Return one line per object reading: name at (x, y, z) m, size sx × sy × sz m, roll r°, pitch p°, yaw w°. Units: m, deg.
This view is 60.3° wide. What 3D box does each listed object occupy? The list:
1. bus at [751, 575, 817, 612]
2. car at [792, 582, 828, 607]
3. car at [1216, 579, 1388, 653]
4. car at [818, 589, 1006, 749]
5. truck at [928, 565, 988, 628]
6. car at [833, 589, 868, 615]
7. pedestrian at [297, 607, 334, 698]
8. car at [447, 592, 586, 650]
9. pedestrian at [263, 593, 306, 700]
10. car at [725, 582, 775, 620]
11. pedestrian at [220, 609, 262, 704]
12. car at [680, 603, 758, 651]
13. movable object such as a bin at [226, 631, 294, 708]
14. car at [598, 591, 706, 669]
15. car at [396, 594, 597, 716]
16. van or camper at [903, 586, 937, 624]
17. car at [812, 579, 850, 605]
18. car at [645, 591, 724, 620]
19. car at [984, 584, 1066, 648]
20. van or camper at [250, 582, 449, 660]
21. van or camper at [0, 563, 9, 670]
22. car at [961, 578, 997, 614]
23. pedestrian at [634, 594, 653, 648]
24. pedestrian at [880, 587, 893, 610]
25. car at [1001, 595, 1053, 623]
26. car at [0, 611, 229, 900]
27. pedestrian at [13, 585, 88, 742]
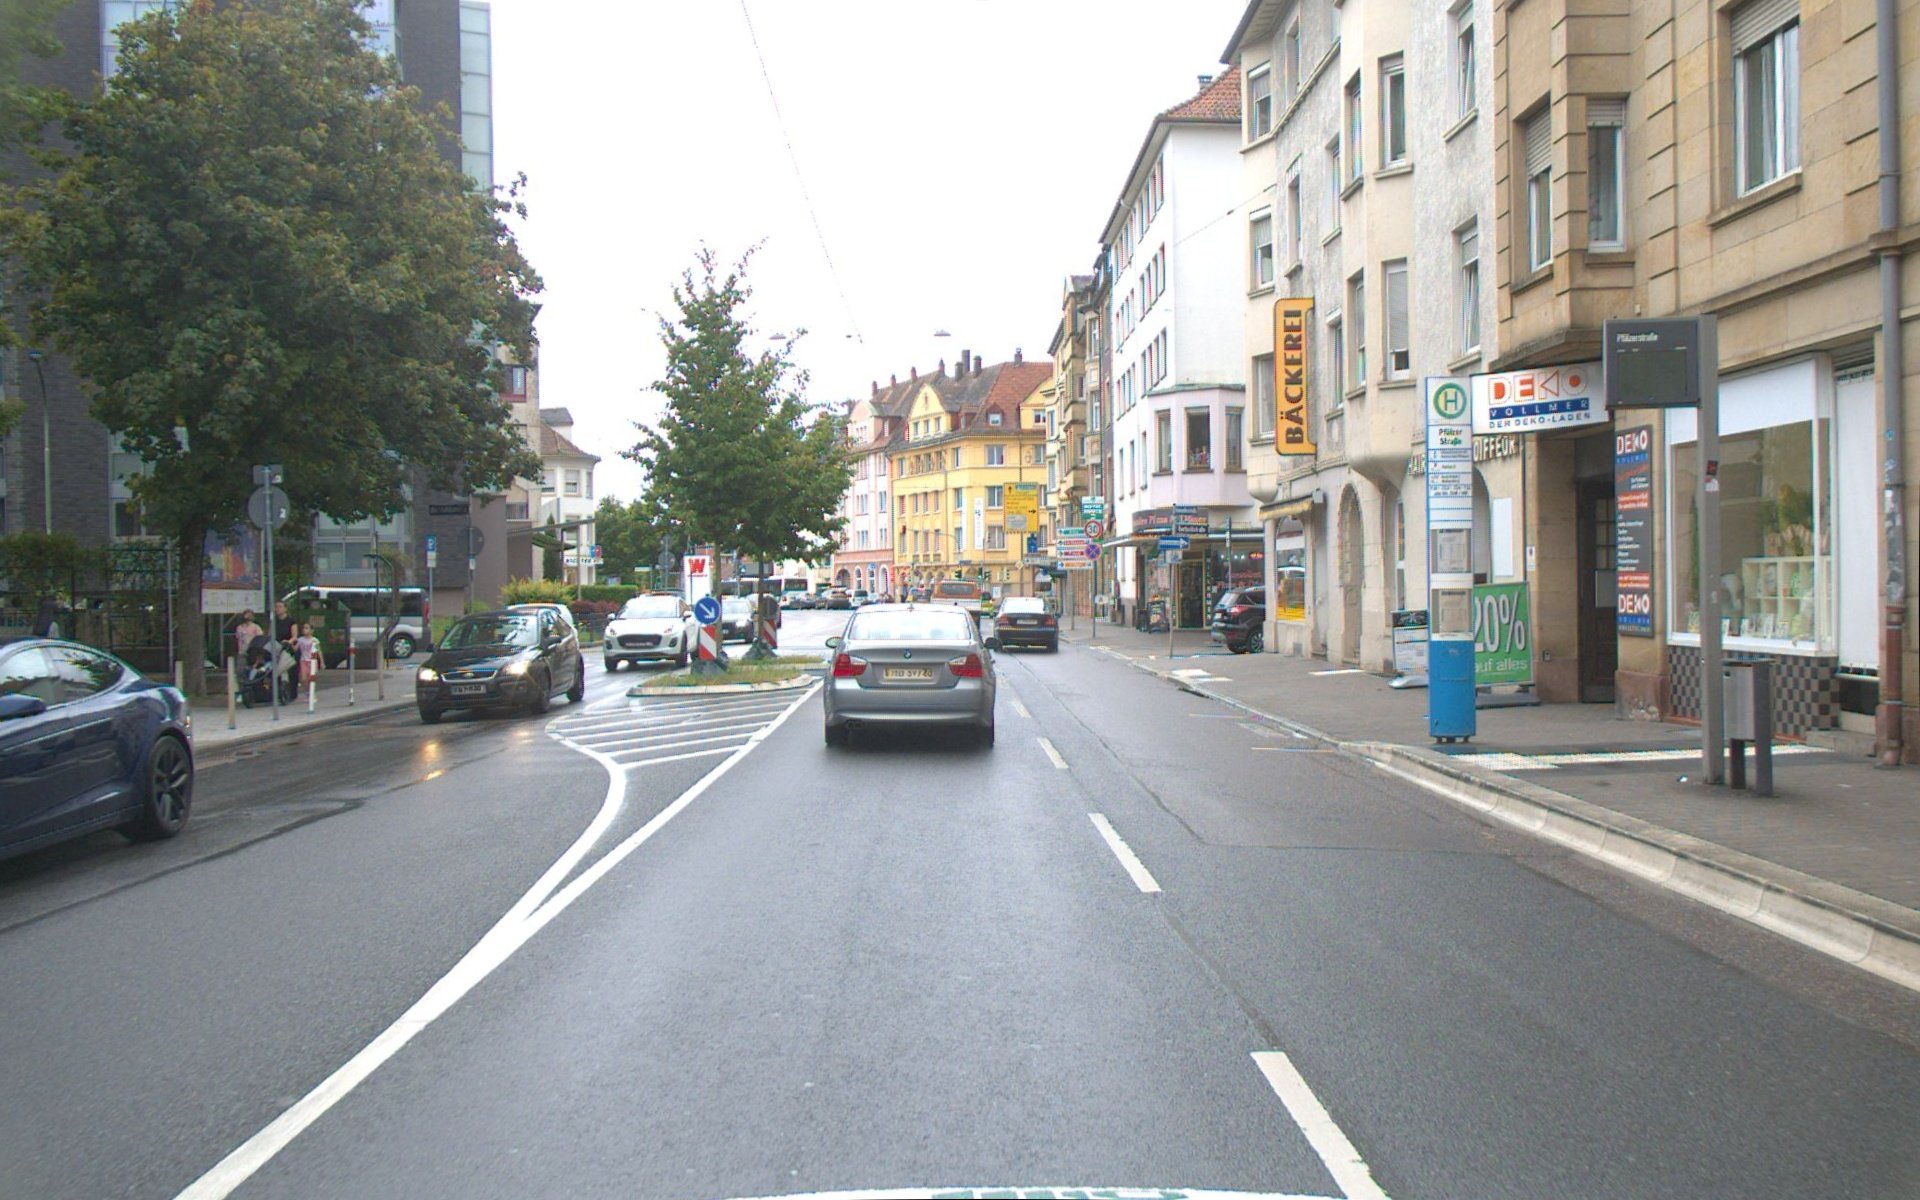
bus at (-15.818, -0.565, 147.934) m, size 2.875 × 3.159 × 9.062 m, roll -1°, pitch 1°, yaw -27°
car at (-12.736, -0.457, 140.116) m, size 1.966 × 2.049 × 3.973 m, roll -1°, pitch 0°, yaw -22°
car at (8.511, 0.385, 41.428) m, size 4.050 × 1.803 × 1.875 m, roll 0°, pitch 0°, yaw 6°
car at (-0.530, 0.645, 17.741) m, size 1.763 × 1.489 × 4.369 m, roll 0°, pitch 0°, yaw -2°
truck at (-0.119, -0.147, 63.105) m, size 2.179 × 2.289 × 5.061 m, roll 0°, pitch 0°, yaw -1°
car at (-9.830, 0.149, 148.407) m, size 1.740 × 2.218 × 3.966 m, roll 2°, pitch 0°, yaw -26°
pedestrian at (-10.317, 0.832, 26.475) m, size 0.424 × 1.435 × 0.481 m, roll 0°, pitch 0°, yaw -5°
car at (-12.853, 0.583, 47.959) m, size 3.546 × 1.597 × 1.720 m, roll 0°, pitch 0°, yaw -34°
pedestrian at (-10.825, 0.734, 26.505) m, size 0.488 × 1.702 × 0.552 m, roll 0°, pitch 0°, yaw -5°
car at (-10.050, 0.037, 78.849) m, size 1.915 × 1.688 × 4.043 m, roll 1°, pitch 0°, yaw -14°
pedestrian at (-11.528, 0.896, 26.524) m, size 0.450 × 1.499 × 0.530 m, roll 0°, pitch 0°, yaw -5°
car at (-7.970, 0.862, 55.055) m, size 1.973 × 1.450 × 4.499 m, roll 1°, pitch 0°, yaw -1°
movable object such as a bin at (-10.845, 1.068, 25.650) m, size 0.689 × 1.154 × 0.965 m, roll 1°, pitch 0°, yaw -4°
car at (-6.928, 0.633, 37.550) m, size 1.783 × 1.596 × 4.087 m, roll -2°, pitch 1°, yaw -2°
car at (-6.655, 0.727, 24.205) m, size 1.916 × 1.584 × 4.241 m, roll -1°, pitch 1°, yaw -3°
van or camper at (-2.402, 0.303, 99.379) m, size 1.818 × 2.184 × 4.139 m, roll 1°, pitch 0°, yaw -4°
car at (-10.502, -0.619, 134.484) m, size 1.966 × 2.049 × 3.973 m, roll -1°, pitch 0°, yaw -22°
car at (-15.798, 0.311, 95.017) m, size 4.360 × 1.553 × 1.883 m, roll 2°, pitch 0°, yaw -6°
car at (1.662, 0.417, 43.627) m, size 1.763 × 1.590 × 3.997 m, roll 0°, pitch 0°, yaw -3°
van or camper at (-16.766, 0.534, 45.471) m, size 4.900 × 2.049 × 1.980 m, roll 0°, pitch 0°, yaw -31°
van or camper at (-23.013, 0.290, 35.366) m, size 4.555 × 2.306 × 2.189 m, roll 1°, pitch 0°, yaw -31°
car at (1.088, -0.235, 96.621) m, size 1.953 × 2.049 × 3.999 m, roll 0°, pitch 0°, yaw -2°
pedestrian at (-10.714, 0.713, 56.012) m, size 0.563 × 1.793 × 0.580 m, roll -1°, pitch 0°, yaw -7°
pedestrian at (-5.014, -0.091, 112.159) m, size 0.750 × 1.556 × 0.505 m, roll 1°, pitch -1°, yaw -22°
car at (5.305, 0.692, 130.631) m, size 3.902 × 2.049 × 2.001 m, roll 2°, pitch 0°, yaw 8°
car at (-6.270, 0.910, 9.633) m, size 1.916 × 1.538 × 4.911 m, roll -2°, pitch 1°, yaw -2°
pedestrian at (-11.055, 0.745, 20.132) m, size 0.711 × 1.858 × 0.848 m, roll 0°, pitch 1°, yaw -24°
